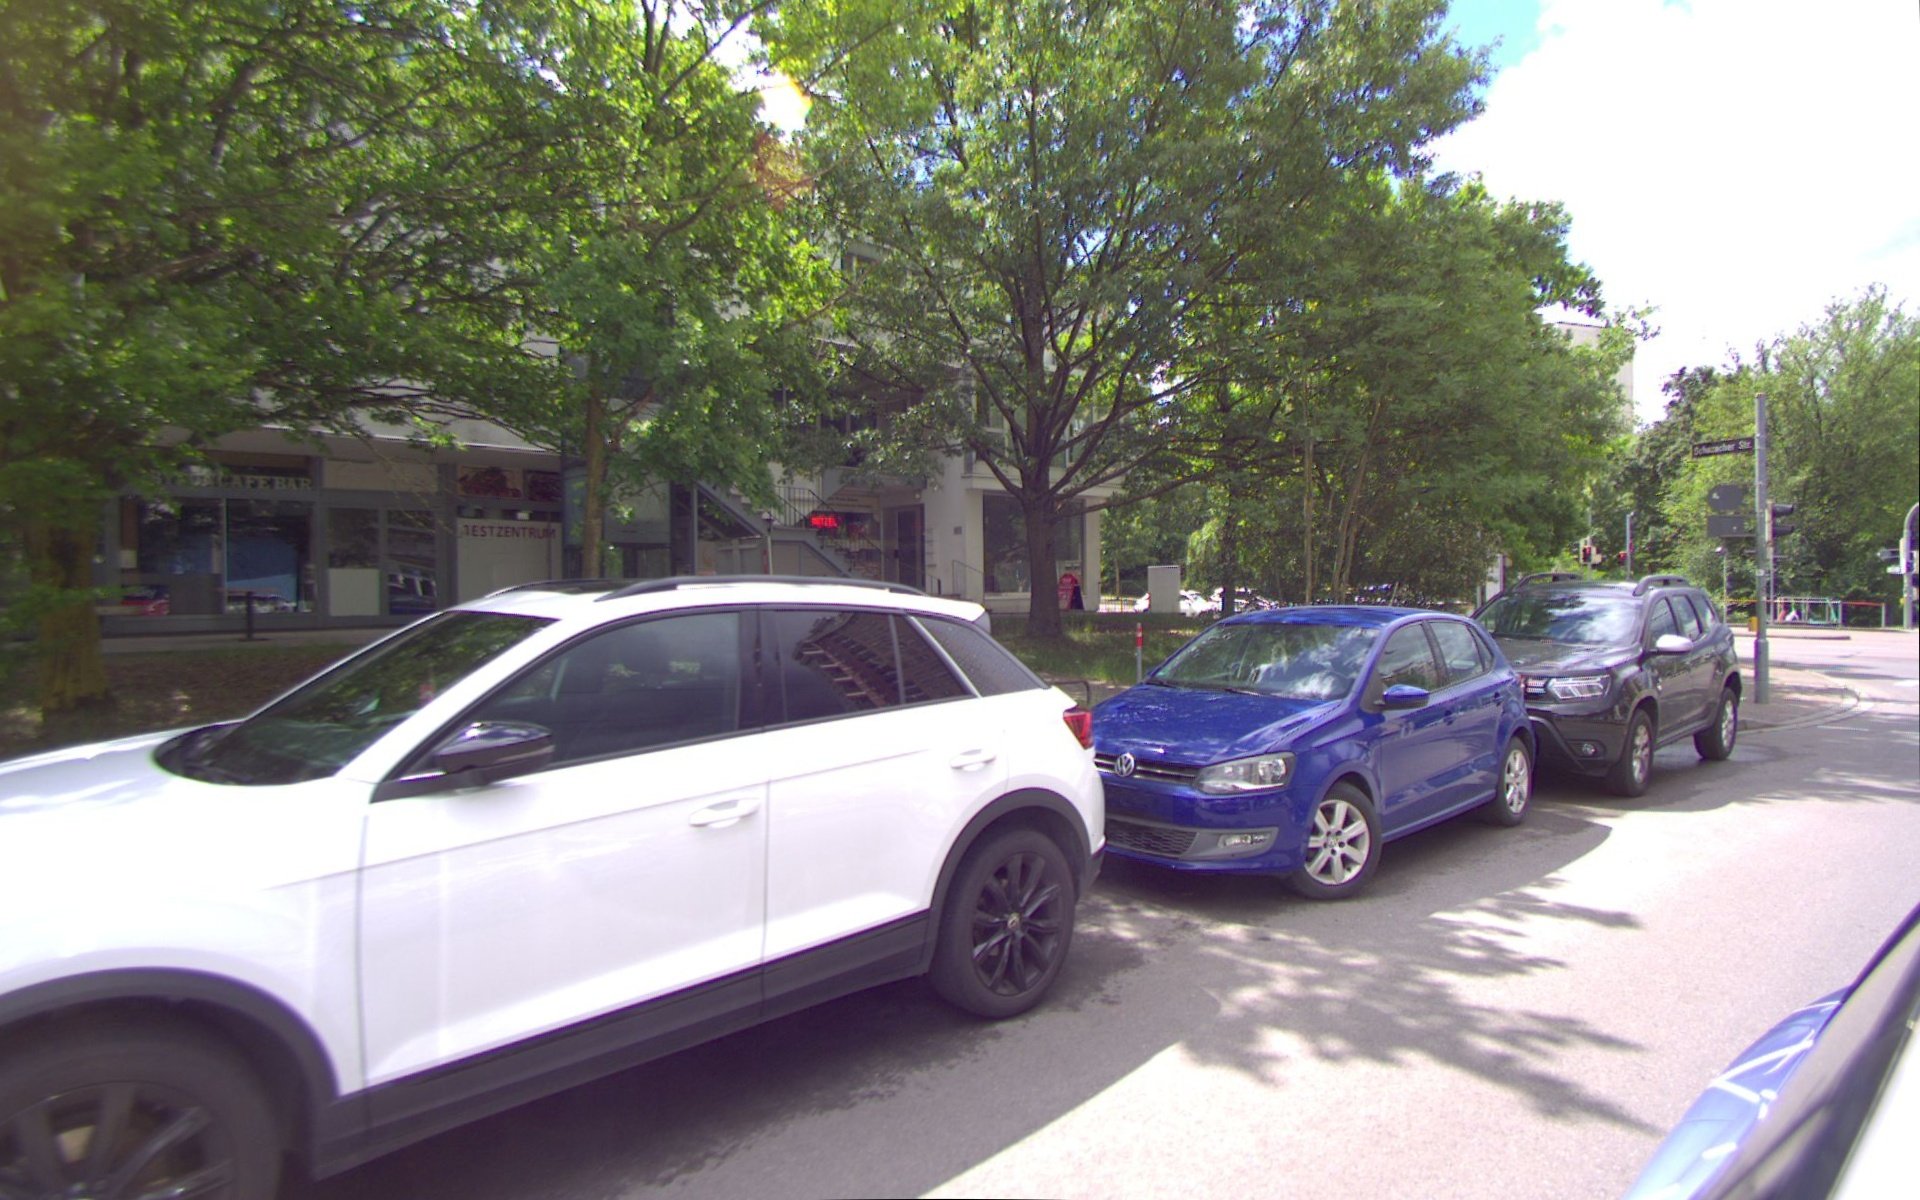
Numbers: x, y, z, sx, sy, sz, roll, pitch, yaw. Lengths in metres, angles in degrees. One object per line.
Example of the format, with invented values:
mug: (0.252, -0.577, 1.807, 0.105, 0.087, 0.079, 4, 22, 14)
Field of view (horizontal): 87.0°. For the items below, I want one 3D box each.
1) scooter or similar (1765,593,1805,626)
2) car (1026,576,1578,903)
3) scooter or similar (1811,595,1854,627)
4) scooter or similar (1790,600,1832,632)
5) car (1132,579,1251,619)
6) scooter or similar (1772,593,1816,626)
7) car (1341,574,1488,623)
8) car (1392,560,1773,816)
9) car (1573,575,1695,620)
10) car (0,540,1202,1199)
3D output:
scooter or similar: (32.753, 0.375, 40.181, 1.181, 1.250, 0.472, 2, 1, 42)
car: (2.423, 0.633, 6.576, 4.006, 1.476, 1.646, 1, 1, -42)
scooter or similar: (34.163, 0.438, 39.626, 0.440, 1.210, 1.172, 1, 1, -32)
scooter or similar: (36.611, 0.702, 43.549, 1.195, 1.310, 0.531, -2, -5, 20)
car: (9.371, -0.091, 41.141, 4.391, 1.432, 1.921, 2, 4, 45)
scooter or similar: (32.273, 0.359, 39.184, 1.199, 1.250, 0.475, 2, 0, 27)
car: (16.796, -0.103, 37.567, 1.892, 1.611, 4.647, -3, 3, -43)
car: (5.791, 0.605, 9.160, 4.489, 1.784, 1.647, 1, 1, -41)
car: (25.623, -0.114, 38.631, 3.765, 1.557, 1.663, 2, 1, 33)
car: (-1.224, 0.674, 3.389, 4.493, 1.585, 1.786, 1, 1, -43)
